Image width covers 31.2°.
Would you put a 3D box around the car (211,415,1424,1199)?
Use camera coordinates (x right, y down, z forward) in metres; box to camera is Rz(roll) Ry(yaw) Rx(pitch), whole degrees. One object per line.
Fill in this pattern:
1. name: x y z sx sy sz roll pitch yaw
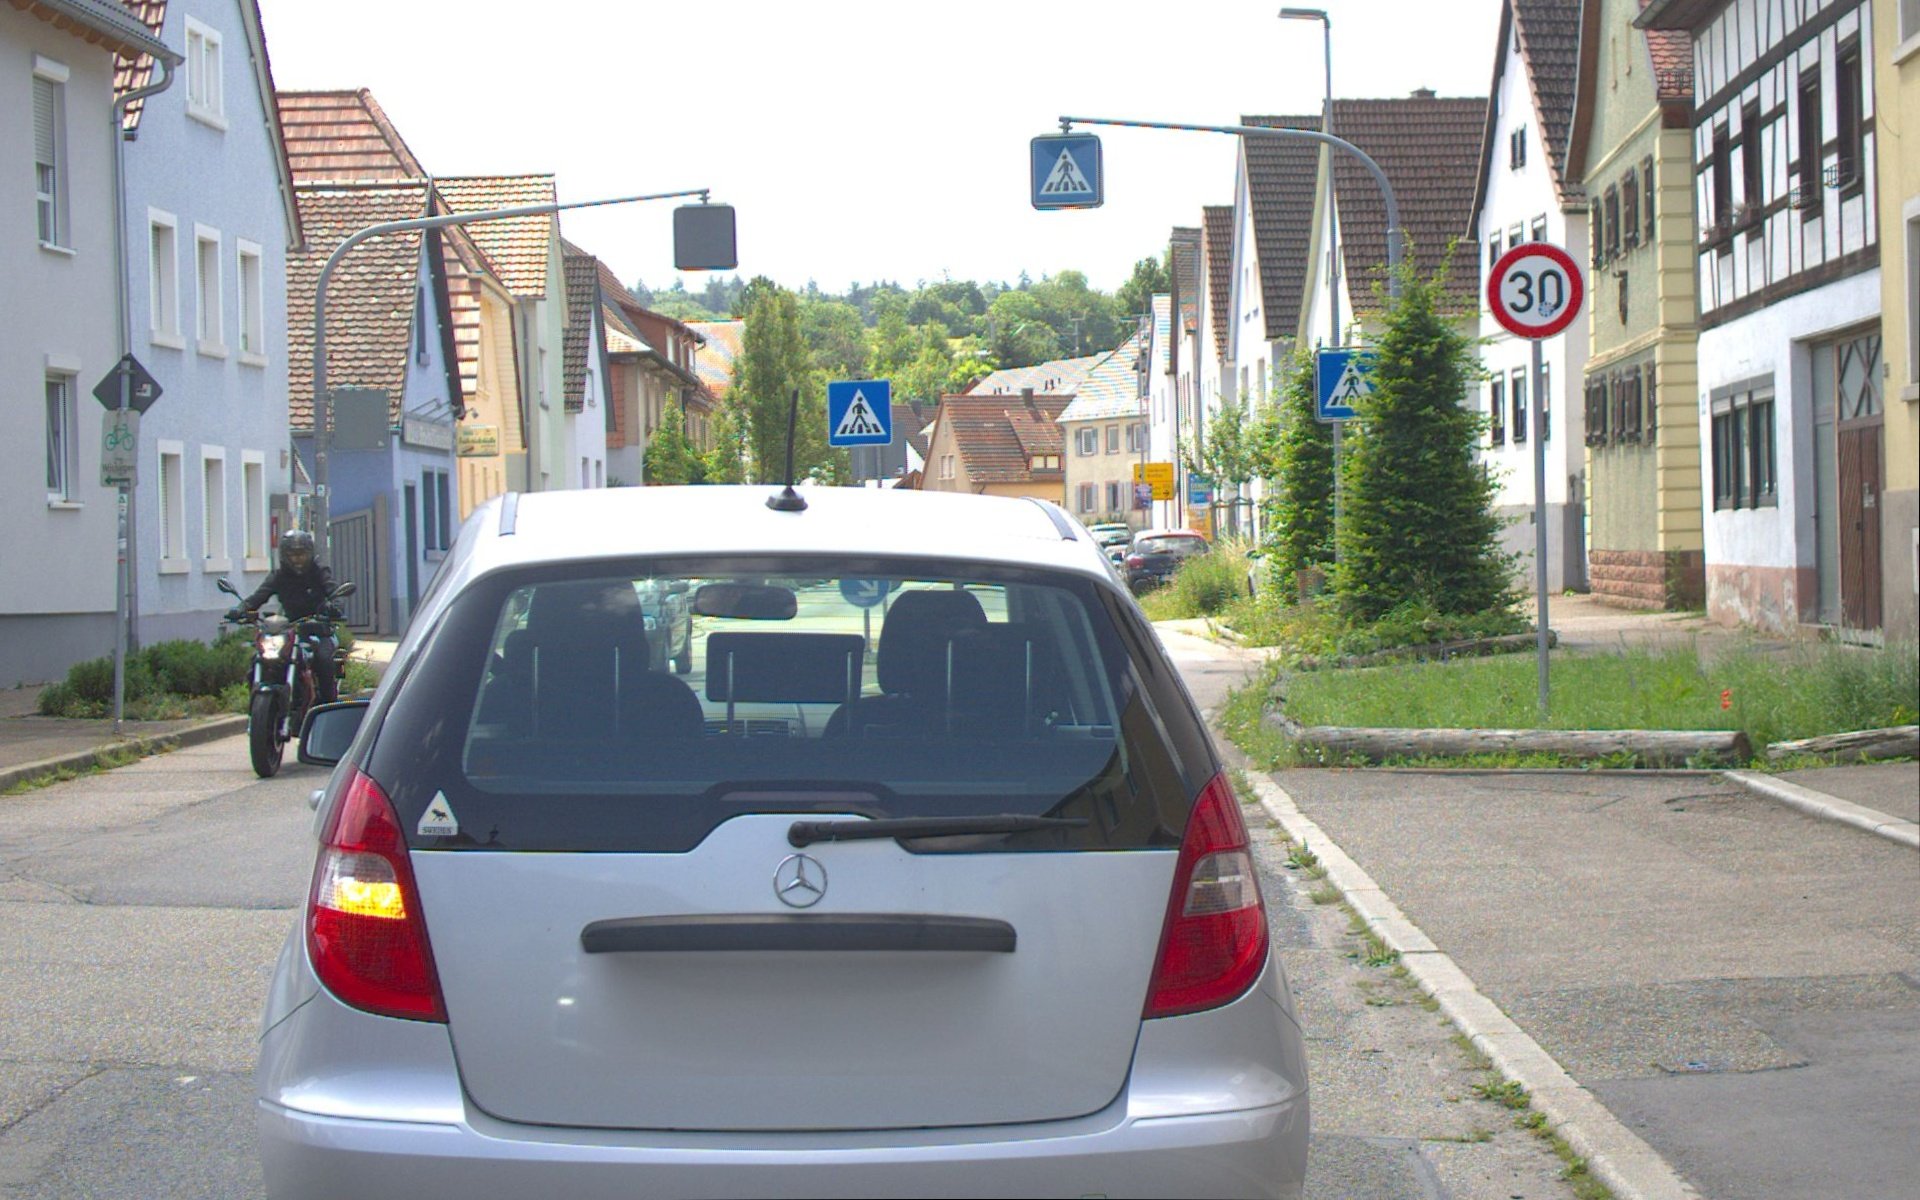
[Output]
1. car: -0.423 0.542 7.041 1.810 1.638 3.730 1 0 -7

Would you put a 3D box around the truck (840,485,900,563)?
1. truck: -3.154 -2.668 121.716 1.993 2.528 6.739 0 -1 -1

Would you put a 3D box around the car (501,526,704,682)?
1. car: -3.788 0.062 36.993 1.500 1.535 3.856 2 -1 4

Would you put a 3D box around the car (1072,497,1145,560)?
1. car: 4.551 -2.174 105.773 1.993 1.810 4.000 0 -1 -1

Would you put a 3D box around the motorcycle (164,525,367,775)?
1. motorcycle: -4.507 0.289 22.463 0.880 1.555 1.967 0 1 1

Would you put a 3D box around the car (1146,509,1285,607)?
1. car: 4.137 -0.659 56.196 1.993 1.503 4.000 0 -1 0

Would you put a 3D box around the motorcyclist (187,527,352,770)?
1. motorcyclist: -4.491 0.302 22.412 0.896 1.549 0.807 0 1 1

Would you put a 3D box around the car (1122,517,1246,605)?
1. car: 4.031 -0.678 62.313 1.993 1.503 4.000 0 -1 0

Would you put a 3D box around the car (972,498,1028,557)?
1. car: 1.427 -2.626 124.564 1.993 2.007 4.000 0 -1 0

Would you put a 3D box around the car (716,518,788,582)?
1. car: -5.540 -1.324 91.742 1.667 1.590 4.000 0 -1 0

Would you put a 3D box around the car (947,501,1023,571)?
1. car: 0.674 -1.758 94.866 1.993 1.810 4.000 0 -1 -1
